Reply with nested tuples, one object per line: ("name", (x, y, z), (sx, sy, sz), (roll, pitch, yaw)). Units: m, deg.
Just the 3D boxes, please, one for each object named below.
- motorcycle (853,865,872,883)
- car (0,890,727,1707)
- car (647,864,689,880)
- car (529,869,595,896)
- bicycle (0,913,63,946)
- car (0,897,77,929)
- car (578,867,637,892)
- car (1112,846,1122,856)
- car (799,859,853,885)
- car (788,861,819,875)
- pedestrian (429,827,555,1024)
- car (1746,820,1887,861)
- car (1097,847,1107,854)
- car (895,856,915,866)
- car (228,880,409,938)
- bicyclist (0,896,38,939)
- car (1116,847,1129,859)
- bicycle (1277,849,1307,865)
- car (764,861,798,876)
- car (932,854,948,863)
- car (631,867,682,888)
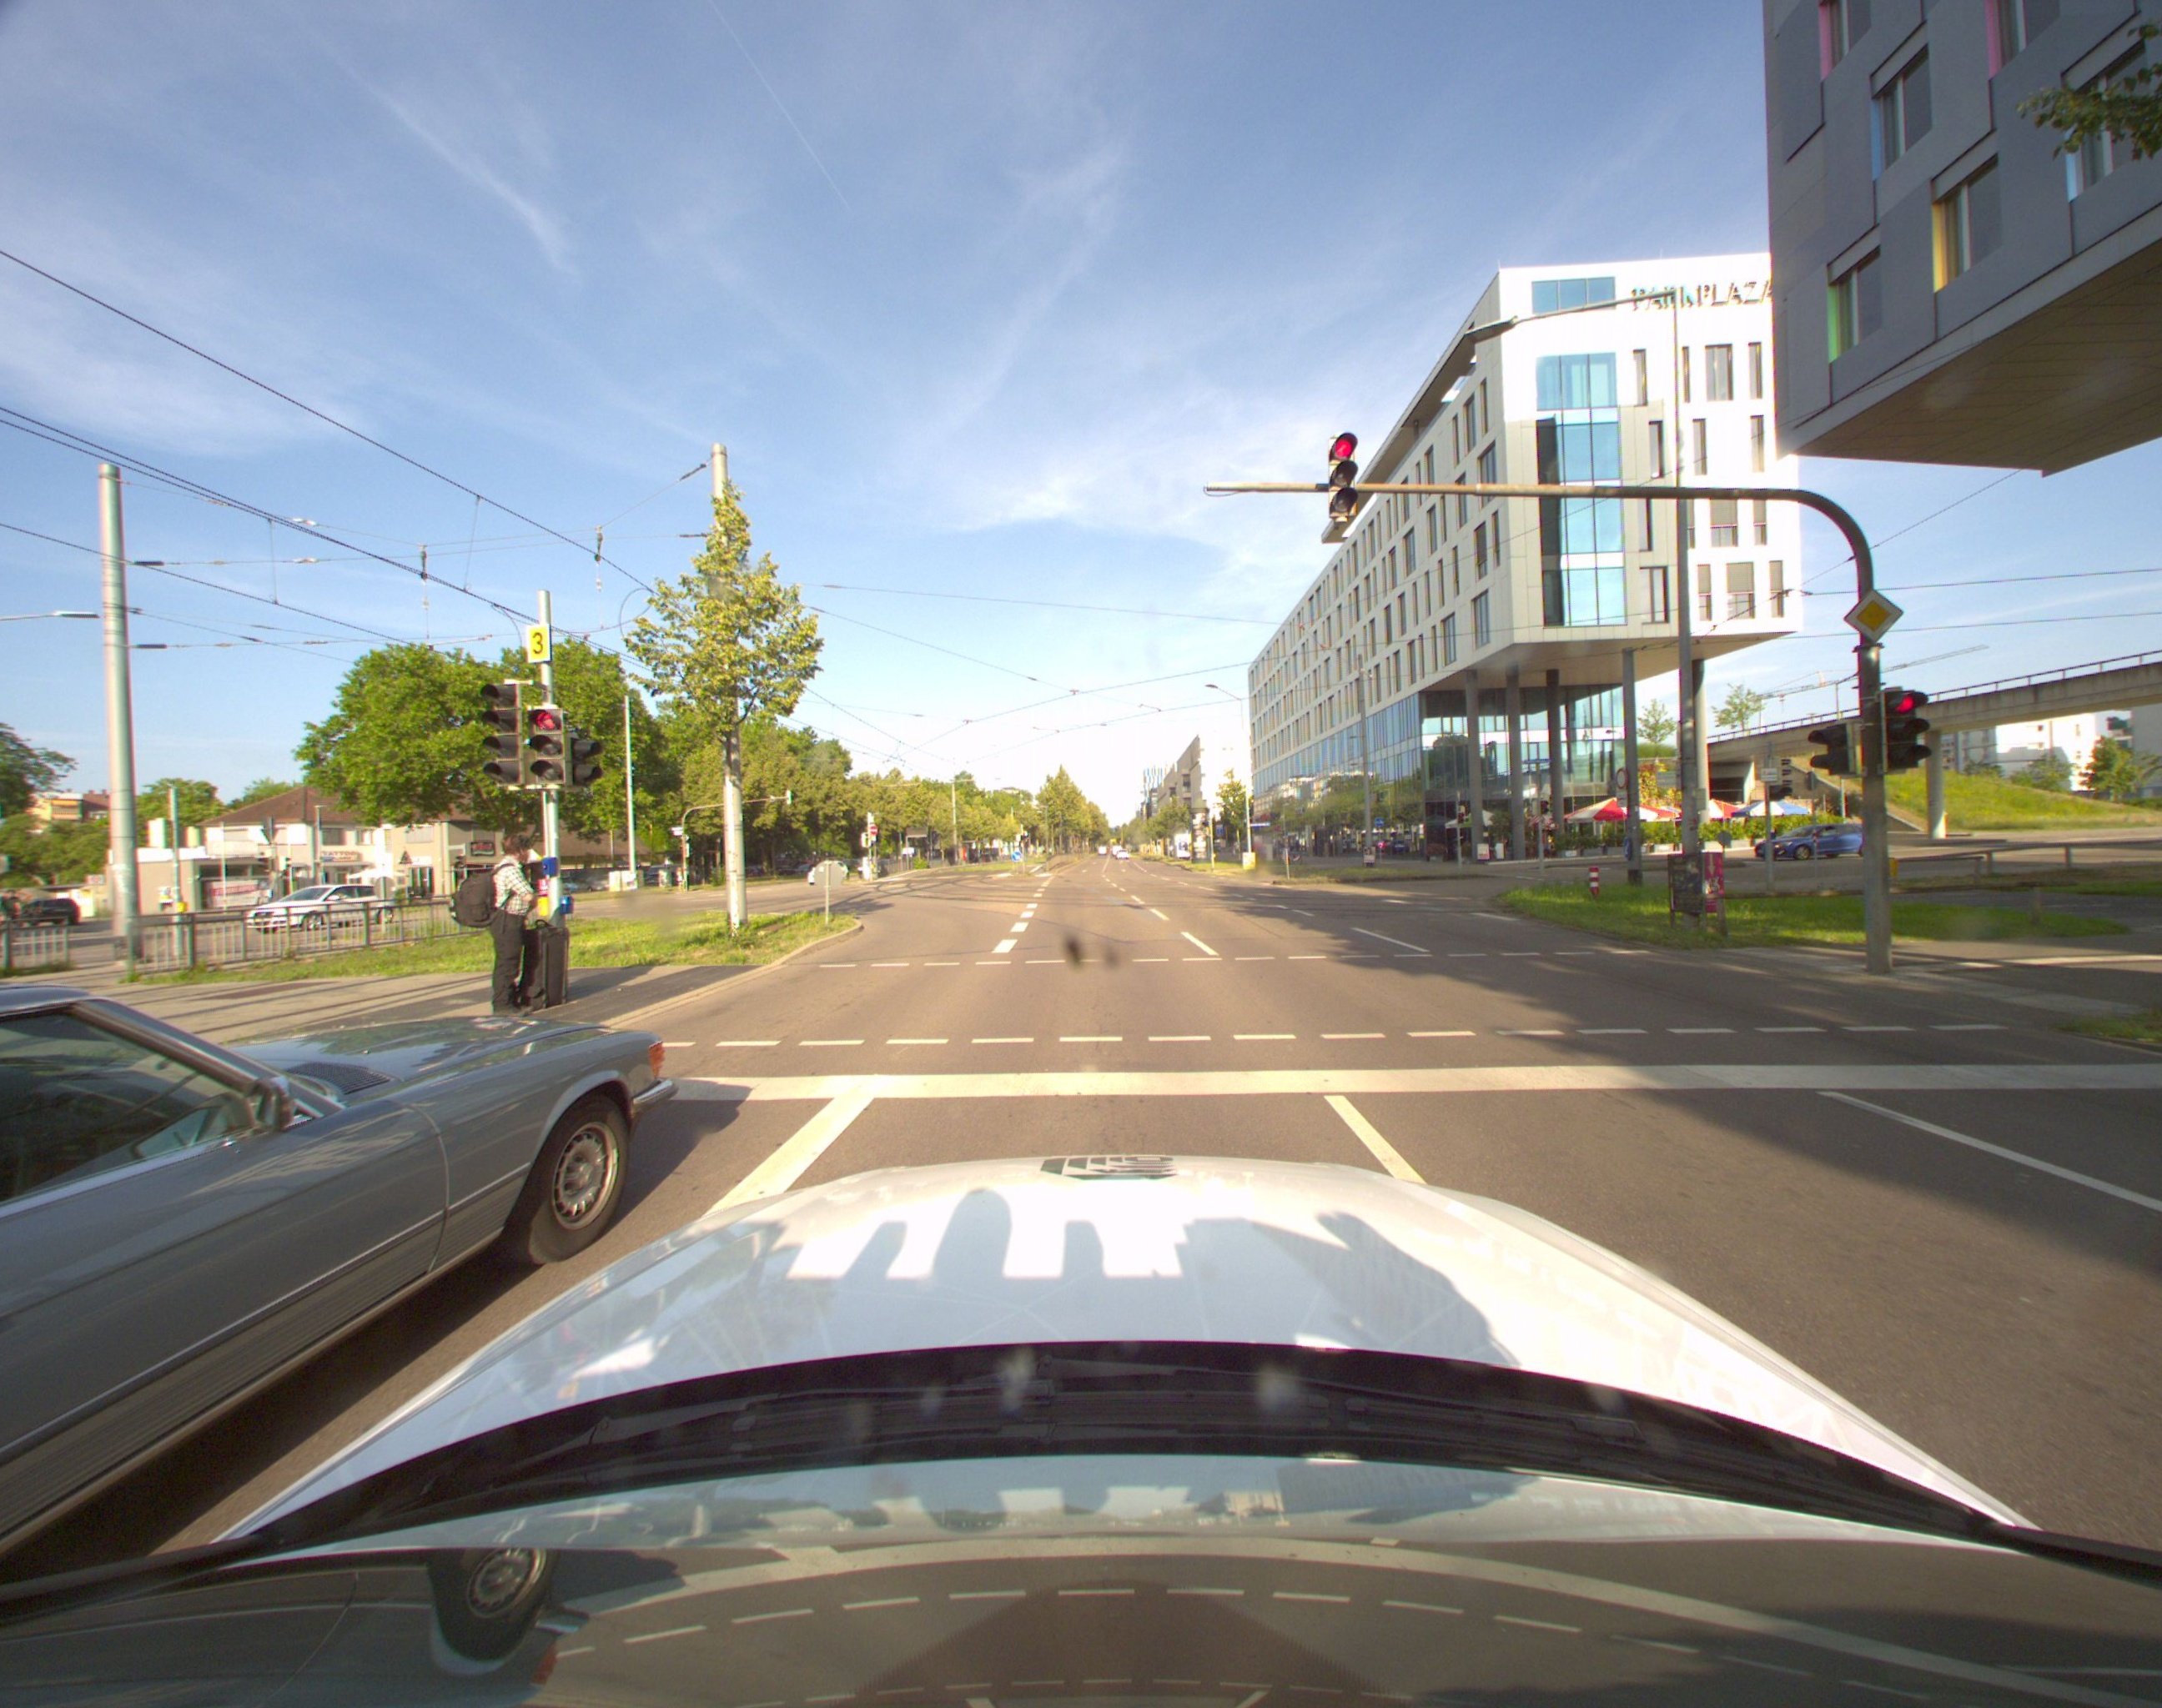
("motorcycle", (-16.608, 1.536, 61.995), (0.816, 1.263, 2.548), (-1, 1, -1))
("car", (-2.722, 0.882, 1.904), (1.757, 1.330, 4.401), (0, 1, 1))
("car", (-43.162, 1.871, 85.168), (1.871, 1.559, 4.009), (-2, 0, 7))
("car", (-37.773, 2.042, 59.420), (1.871, 1.750, 4.009), (-2, 0, 7))
("bicycle", (-38.572, 2.759, 29.404), (2.203, 1.041, 0.695), (-2, 0, -21))
("car", (-63.141, 3.552, 48.776), (3.963, 1.728, 2.005), (-2, 0, 9))
("car", (-37.225, 1.975, 64.167), (1.871, 1.750, 4.009), (-2, 0, 7))
("car", (6.706, -0.569, 151.387), (1.856, 1.684, 4.003), (0, 1, 3))
("car", (-16.933, 1.189, 54.296), (1.985, 1.504, 4.097), (-4, -1, 4))
("car", (-33.356, 1.680, 98.105), (1.871, 1.559, 4.009), (-2, 0, 7))
("pedestrian", (-5.565, 0.649, 7.729), (0.697, 1.792, 0.636), (-1, 0, 2))
("car", (30.523, -0.556, 33.896), (4.169, 1.424, 1.860), (-3, 1, 1))
("car", (4.695, -0.772, 179.338), (2.006, 1.684, 4.003), (0, 1, 3))
("car", (-28.780, 1.147, 132.938), (1.871, 1.559, 4.009), (-2, 0, 7))
("car", (-25.123, 1.750, 27.079), (1.869, 1.527, 4.227), (-2, 1, 3))
("bicyclist", (-38.577, 2.298, 29.413), (0.850, 1.493, 0.695), (-2, 0, -21))
("car", (5.802, -0.115, 114.466), (1.856, 1.684, 4.003), (0, 1, 3))
("bicycle", (14.372, 0.211, 55.502), (0.778, 1.032, 1.856), (-2, 2, -41))
("car", (-34.080, 1.674, 92.549), (1.871, 1.559, 4.009), (-2, 0, 7))
("car", (-26.491, 0.834, 153.313), (1.871, 1.559, 4.009), (-2, 0, 7))
("car", (-36.497, 1.986, 70.206), (1.871, 1.559, 4.009), (-2, 0, 7))
